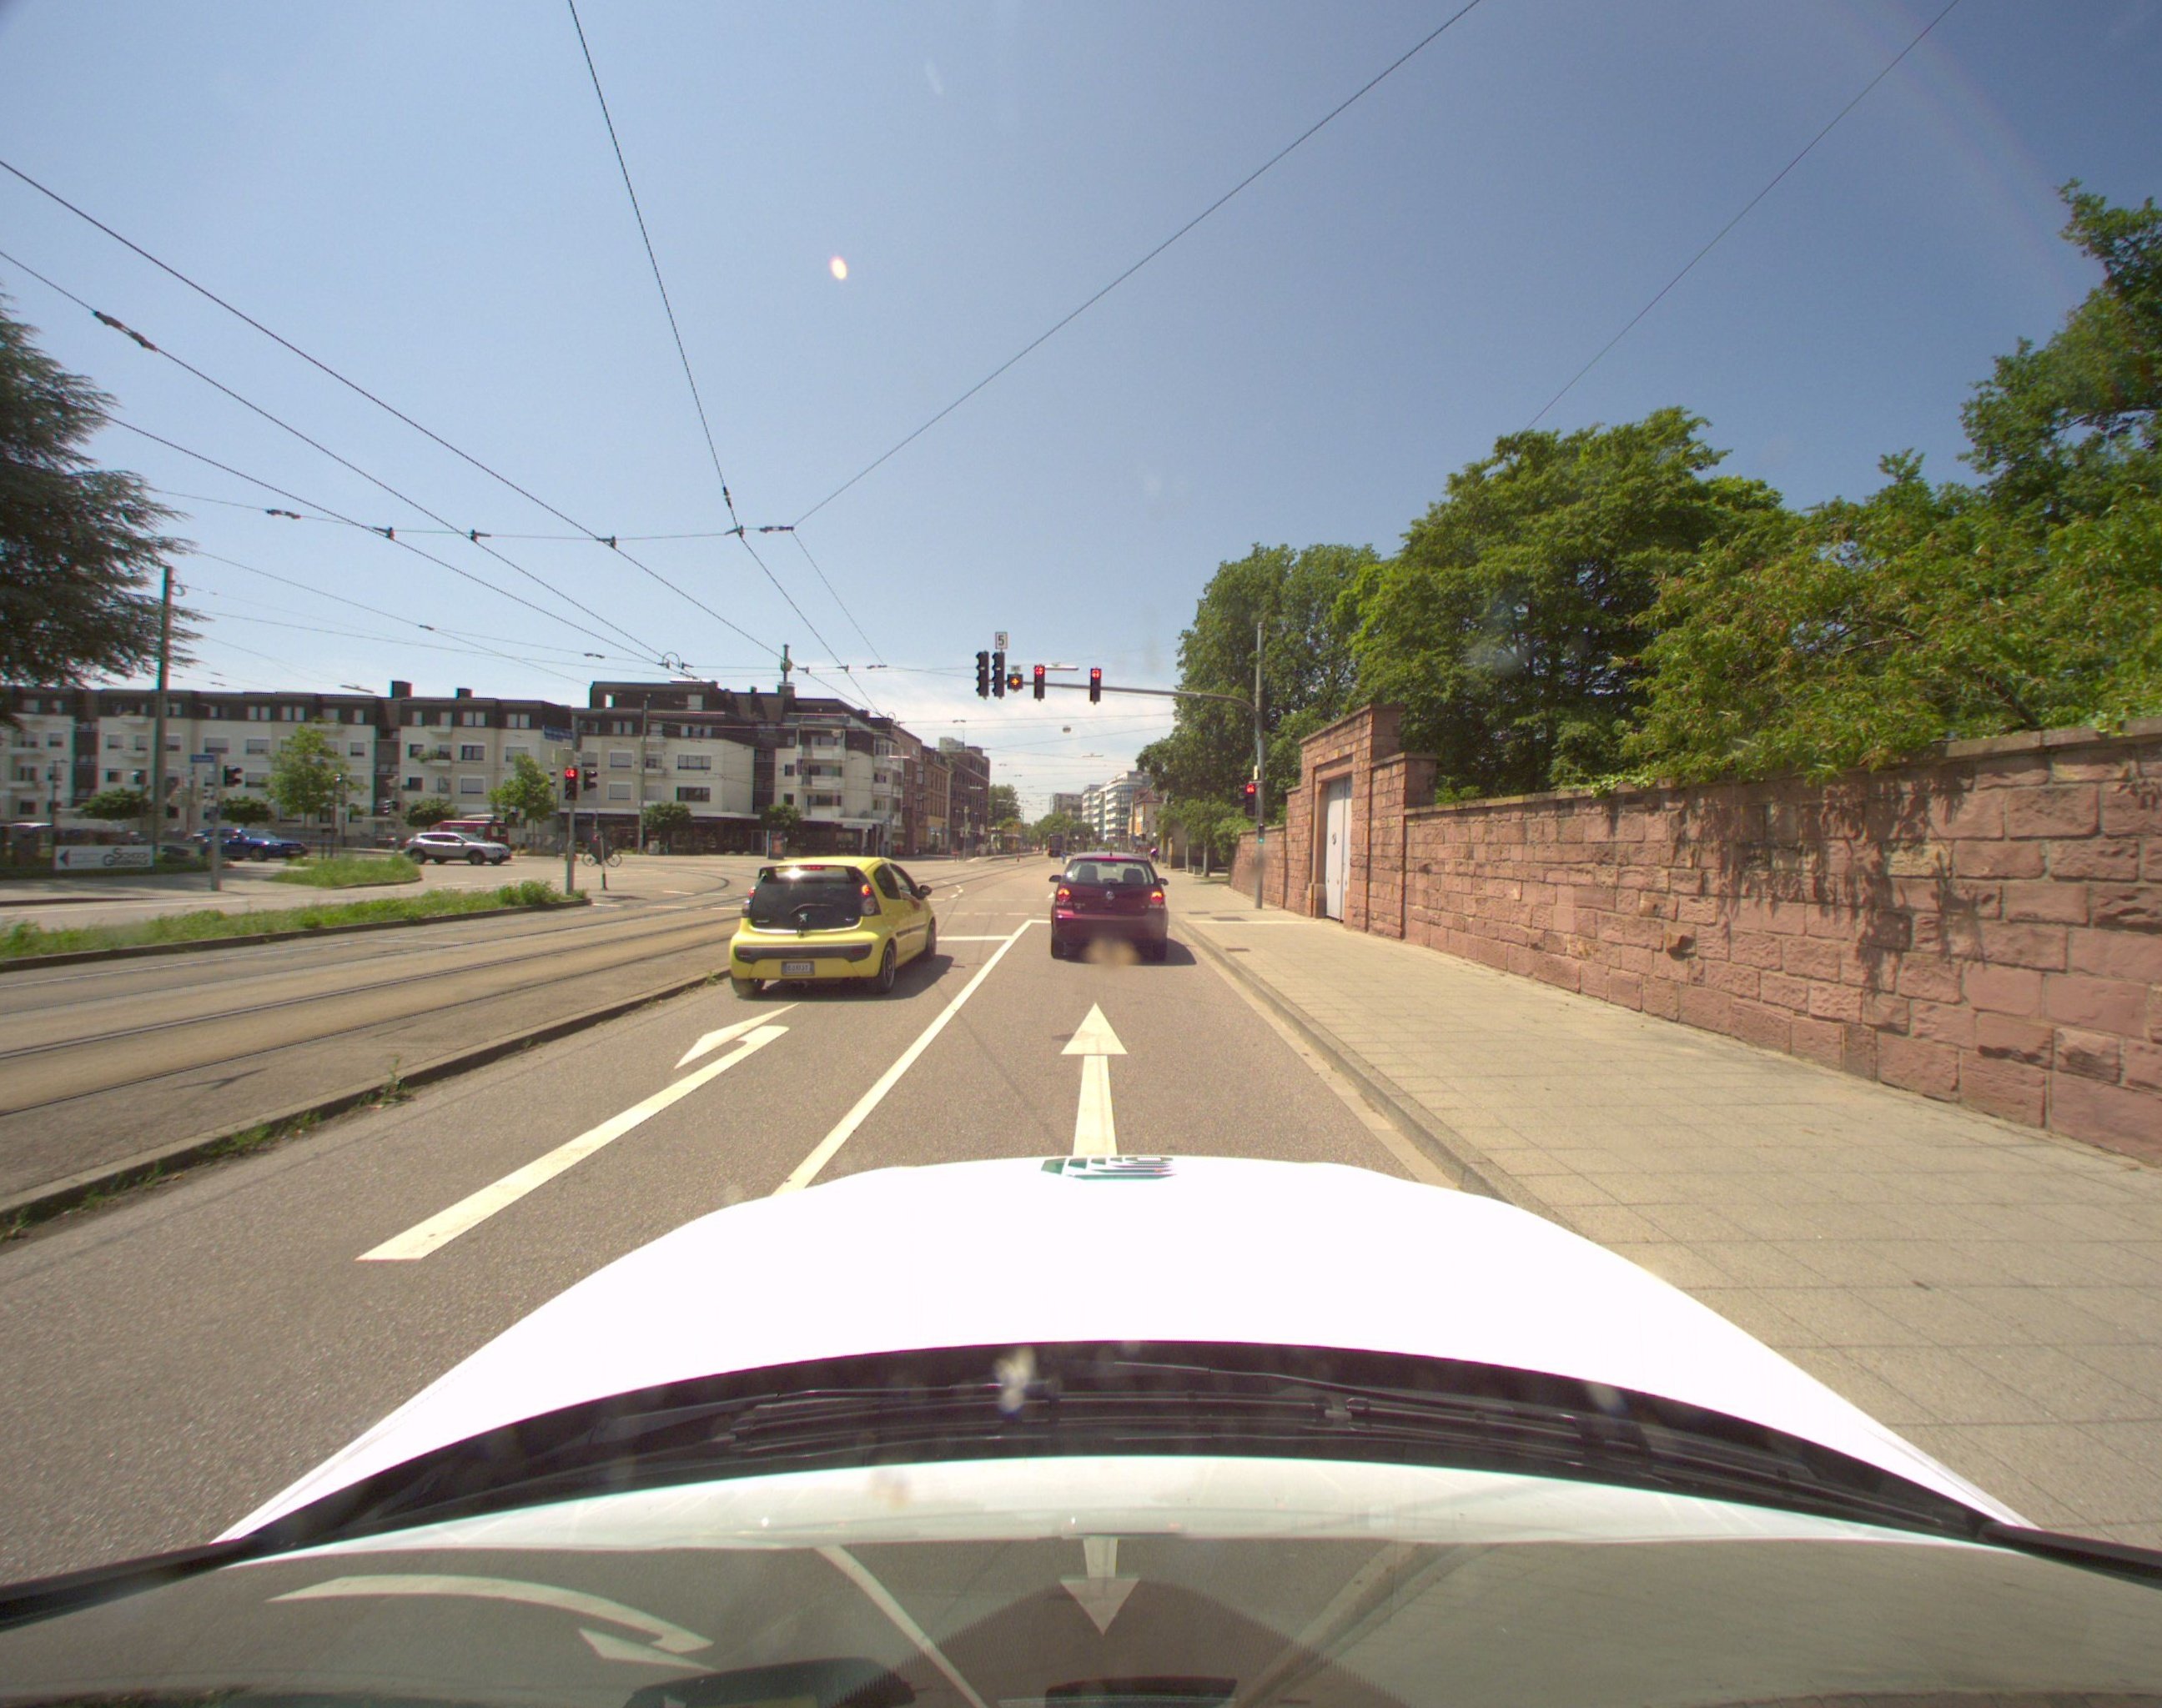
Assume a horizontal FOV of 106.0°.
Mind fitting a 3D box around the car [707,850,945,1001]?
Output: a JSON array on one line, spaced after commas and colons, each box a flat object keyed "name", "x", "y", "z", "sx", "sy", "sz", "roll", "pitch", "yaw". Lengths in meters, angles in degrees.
[{"name": "car", "x": -2.813, "y": 0.705, "z": 9.749, "sx": 1.717, "sy": 1.445, "sz": 3.293, "roll": -1, "pitch": 1, "yaw": 1}]

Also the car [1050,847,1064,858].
[{"name": "car", "x": -3.531, "y": -0.209, "z": 121.695, "sx": 1.931, "sy": 1.641, "sz": 4.001, "roll": 0, "pitch": 0, "yaw": 1}]

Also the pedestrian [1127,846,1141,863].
[{"name": "pedestrian", "x": 5.235, "y": 0.085, "z": 80.054, "sx": 0.987, "sy": 1.661, "sz": 0.911, "roll": 1, "pitch": 0, "yaw": -28}]

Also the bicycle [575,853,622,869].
[{"name": "bicycle", "x": -24.747, "y": 0.358, "z": 41.808, "sx": 1.987, "sy": 0.783, "sz": 0.463, "roll": 0, "pitch": -1, "yaw": -20}]

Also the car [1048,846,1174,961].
[{"name": "car", "x": 0.428, "y": 0.631, "z": 12.661, "sx": 1.604, "sy": 1.463, "sz": 4.086, "roll": 1, "pitch": 0, "yaw": 1}]

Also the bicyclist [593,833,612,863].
[{"name": "bicyclist", "x": -24.632, "y": -0.307, "z": 41.932, "sx": 0.752, "sy": 1.501, "sz": 0.479, "roll": 0, "pitch": -1, "yaw": -20}]

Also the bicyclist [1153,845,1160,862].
[{"name": "bicyclist", "x": 7.779, "y": -0.035, "z": 84.172, "sx": 0.719, "sy": 1.818, "sz": 0.889, "roll": 0, "pitch": -1, "yaw": 1}]

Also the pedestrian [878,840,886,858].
[{"name": "pedestrian", "x": -19.613, "y": -0.447, "z": 80.389, "sx": 0.614, "sy": 1.754, "sz": 0.499, "roll": 1, "pitch": -1, "yaw": -43}]

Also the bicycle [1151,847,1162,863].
[{"name": "bicycle", "x": 7.717, "y": 0.109, "z": 83.342, "sx": 0.831, "sy": 1.525, "sz": 4.001, "roll": 0, "pitch": 0, "yaw": 2}]

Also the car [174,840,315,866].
[{"name": "car", "x": -40.825, "y": -0.060, "z": 39.846, "sx": 4.757, "sy": 1.237, "sz": 1.938, "roll": 0, "pitch": 0, "yaw": -2}]

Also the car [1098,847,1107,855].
[{"name": "car", "x": 3.815, "y": -0.628, "z": 147.804, "sx": 1.567, "sy": 1.415, "sz": 3.721, "roll": -1, "pitch": 0, "yaw": 1}]

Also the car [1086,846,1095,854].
[{"name": "car", "x": 2.013, "y": -0.847, "z": 169.753, "sx": 1.774, "sy": 1.623, "sz": 3.999, "roll": 0, "pitch": 0, "yaw": 0}]

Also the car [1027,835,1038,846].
[{"name": "car", "x": -9.459, "y": -2.617, "z": 159.170, "sx": 1.728, "sy": 2.013, "sz": 4.002, "roll": 1, "pitch": 0, "yaw": 2}]

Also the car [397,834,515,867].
[{"name": "car", "x": -30.752, "y": -0.161, "z": 40.184, "sx": 4.140, "sy": 1.584, "sz": 1.932, "roll": 0, "pitch": -1, "yaw": -11}]

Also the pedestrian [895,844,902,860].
[{"name": "pedestrian", "x": -18.332, "y": -0.210, "z": 81.603, "sx": 0.480, "sy": 1.541, "sz": 0.540, "roll": 0, "pitch": -1, "yaw": 16}]

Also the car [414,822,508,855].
[{"name": "car", "x": -45.318, "y": -1.089, "z": 59.618, "sx": 5.048, "sy": 2.341, "sz": 2.244, "roll": 0, "pitch": -1, "yaw": 0}]
